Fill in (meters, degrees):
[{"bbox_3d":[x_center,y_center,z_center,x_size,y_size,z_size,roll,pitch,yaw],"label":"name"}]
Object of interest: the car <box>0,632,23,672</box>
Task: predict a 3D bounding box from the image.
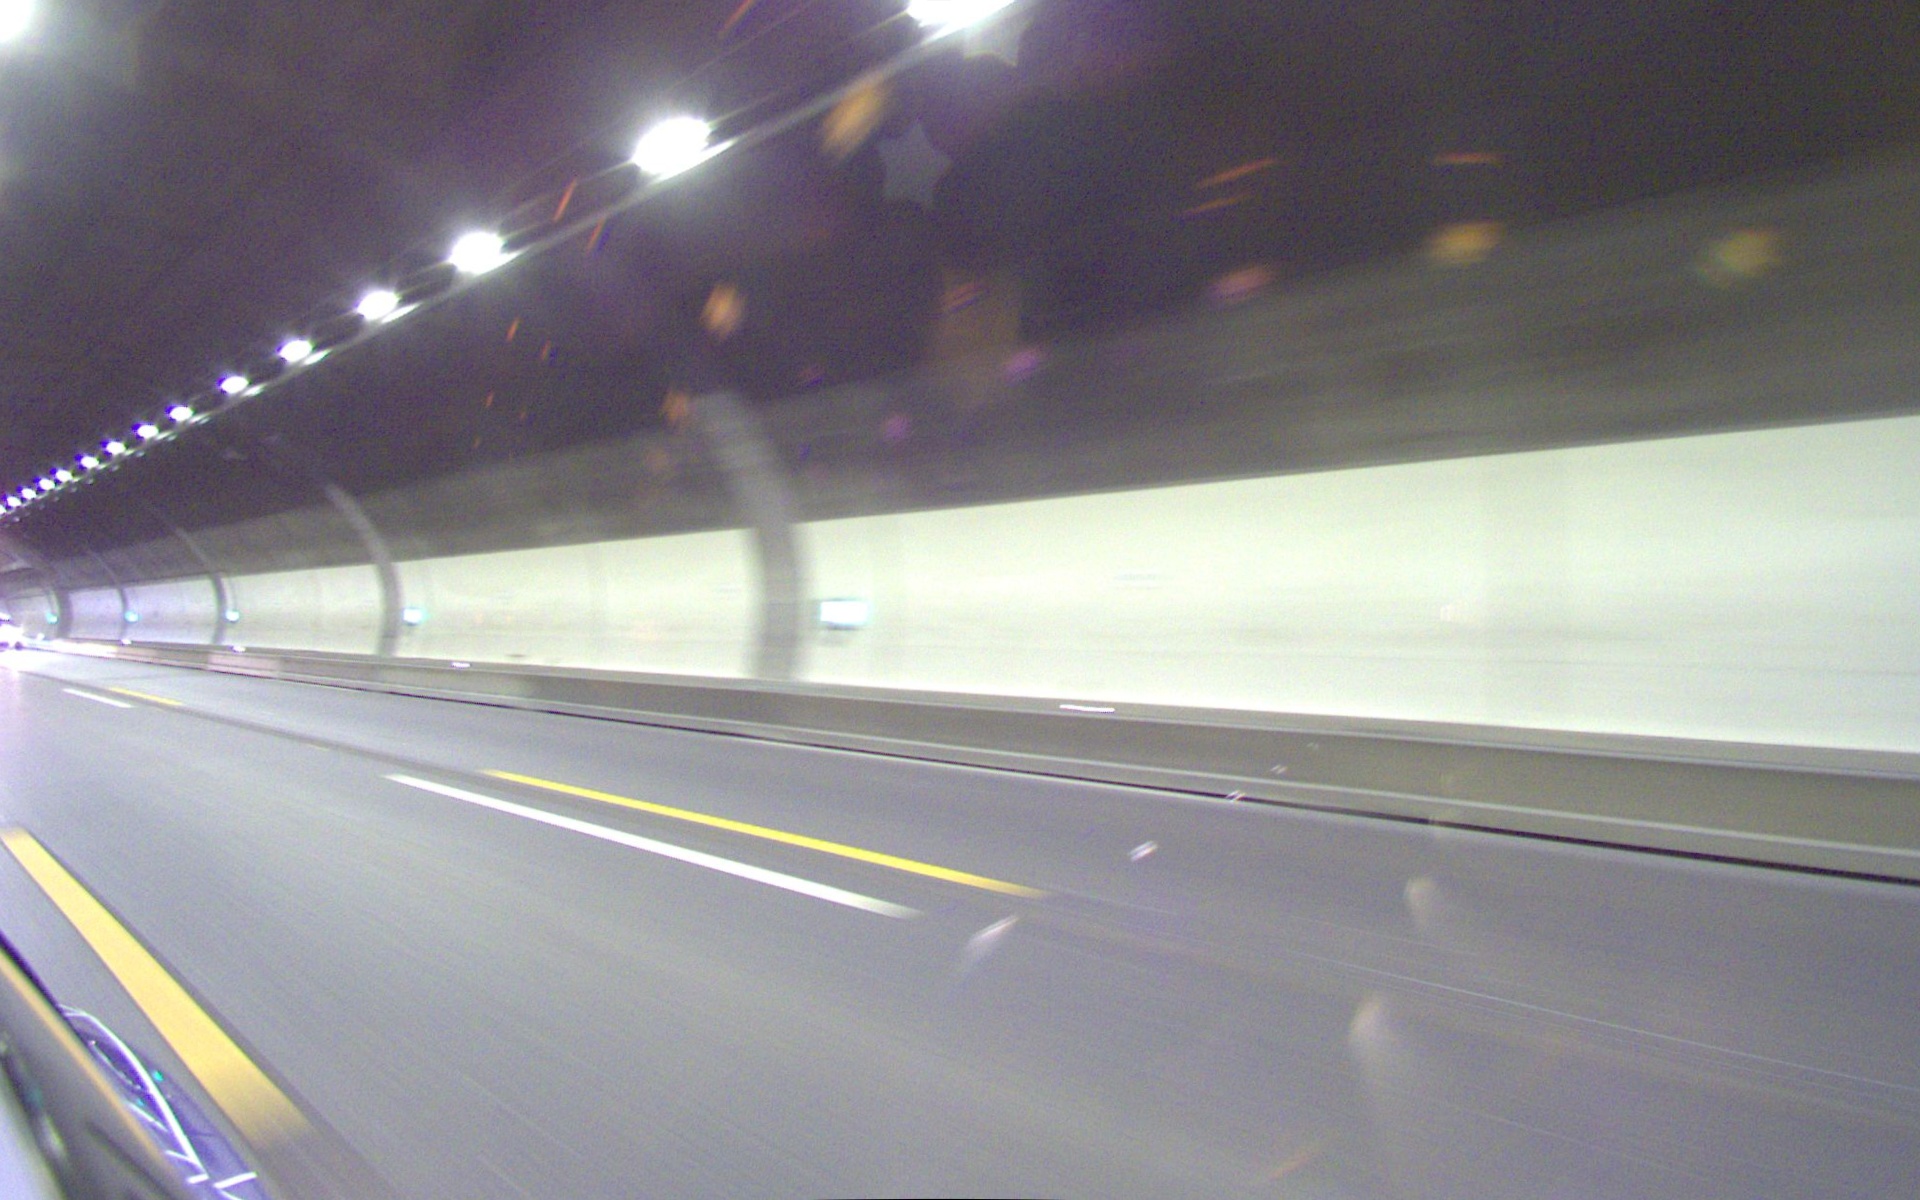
[{"bbox_3d":[-42.413,2.270,43.948,4.848,1.552,1.973,-1,2,41],"label":"car"}]
